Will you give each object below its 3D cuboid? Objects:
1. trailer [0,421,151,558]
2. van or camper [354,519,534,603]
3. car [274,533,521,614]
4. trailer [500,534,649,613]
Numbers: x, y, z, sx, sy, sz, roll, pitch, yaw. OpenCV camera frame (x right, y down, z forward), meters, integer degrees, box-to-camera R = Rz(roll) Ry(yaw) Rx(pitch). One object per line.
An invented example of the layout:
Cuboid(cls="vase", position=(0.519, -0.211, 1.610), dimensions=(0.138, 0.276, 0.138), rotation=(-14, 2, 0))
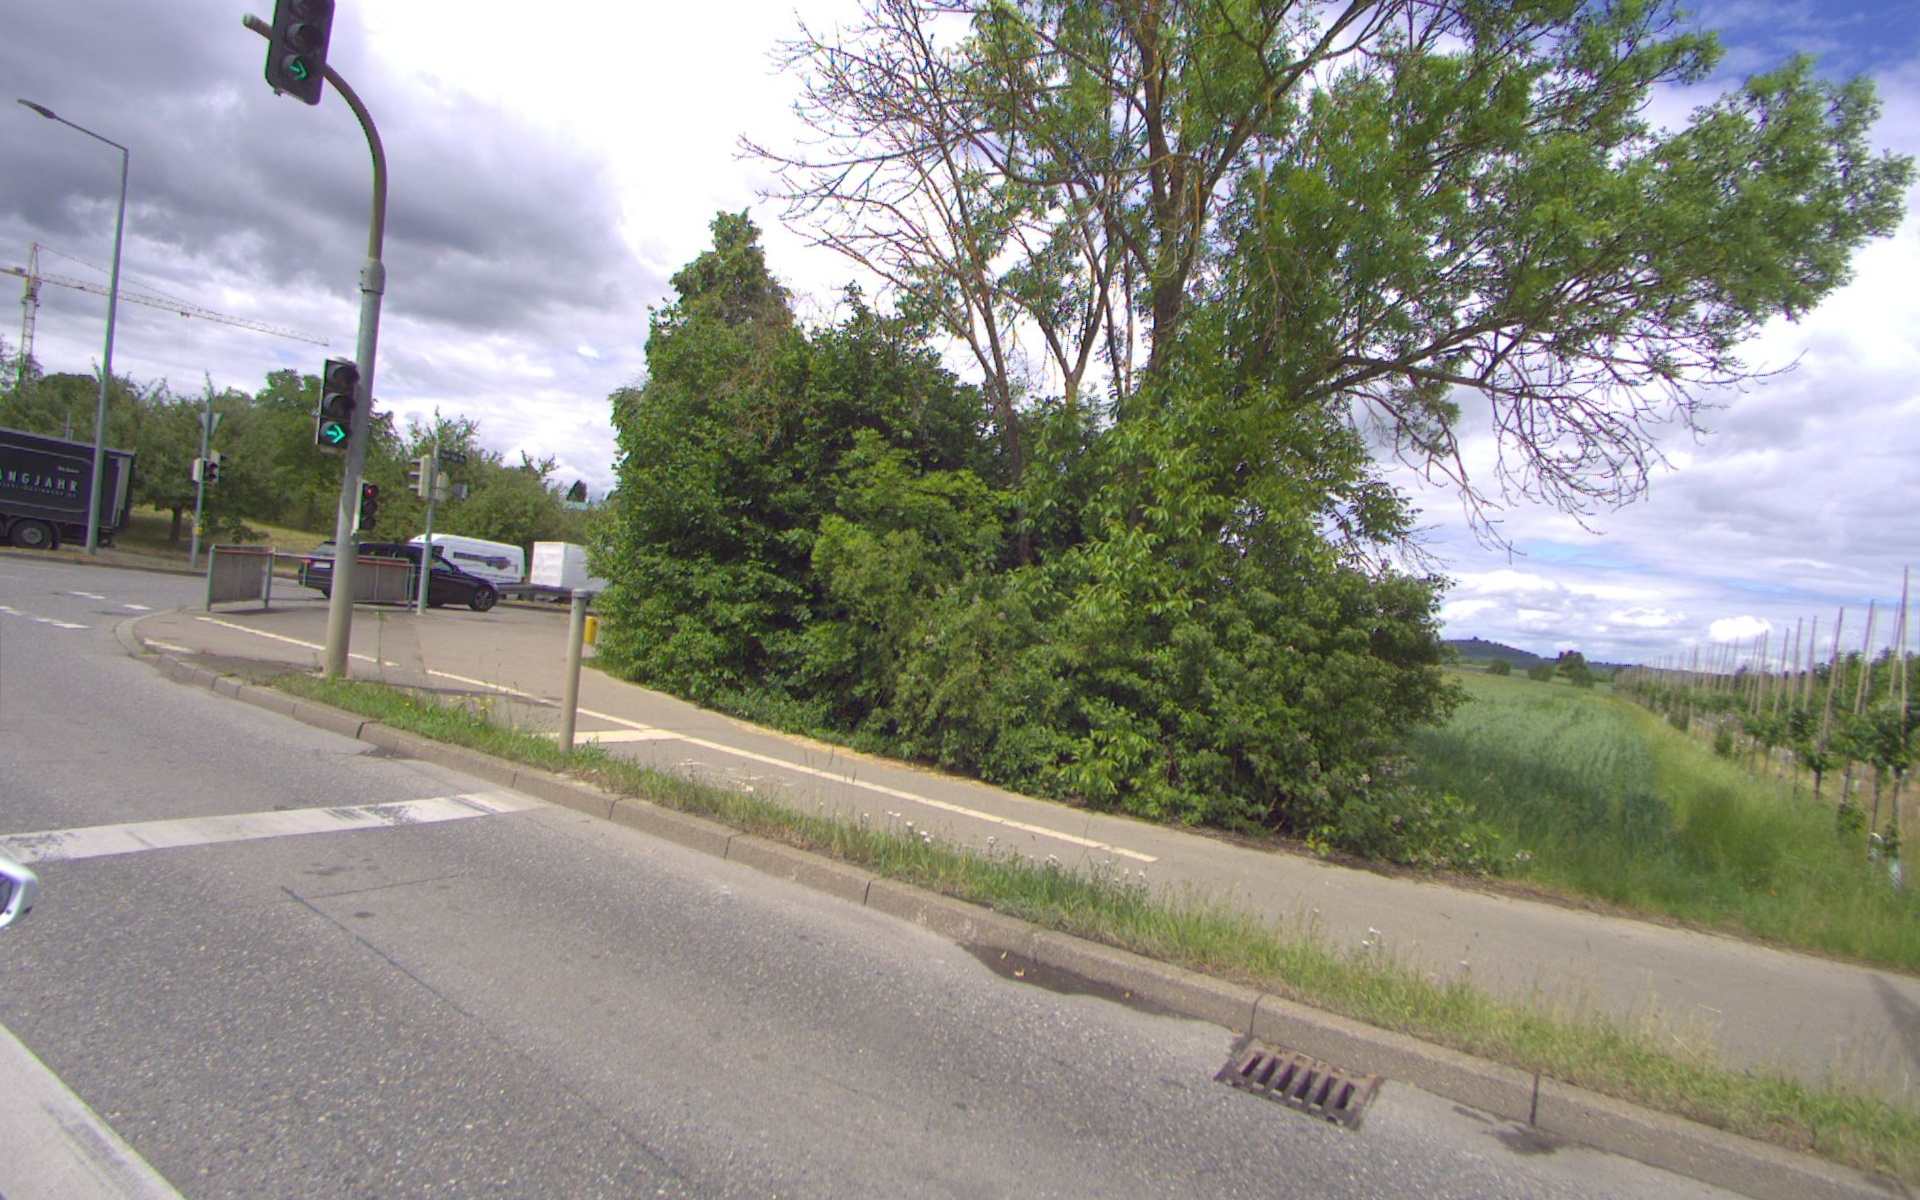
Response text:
Cuboid(cls="trailer", position=(-28.567, -3.498, 29.113), dimensions=(1.966, 3.500, 7.600), rotation=(7, -1, 30))
Cuboid(cls="van or camper", position=(-20.751, -1.505, 40.724), dimensions=(2.215, 2.563, 5.918), rotation=(7, -1, 36))
Cuboid(cls="car", position=(-13.745, -0.575, 25.015), dimensions=(1.845, 1.459, 5.195), rotation=(7, 0, 24))
Cuboid(cls="trailer", position=(-17.291, -1.144, 45.441), dimensions=(2.213, 2.841, 5.766), rotation=(7, 0, 37))
